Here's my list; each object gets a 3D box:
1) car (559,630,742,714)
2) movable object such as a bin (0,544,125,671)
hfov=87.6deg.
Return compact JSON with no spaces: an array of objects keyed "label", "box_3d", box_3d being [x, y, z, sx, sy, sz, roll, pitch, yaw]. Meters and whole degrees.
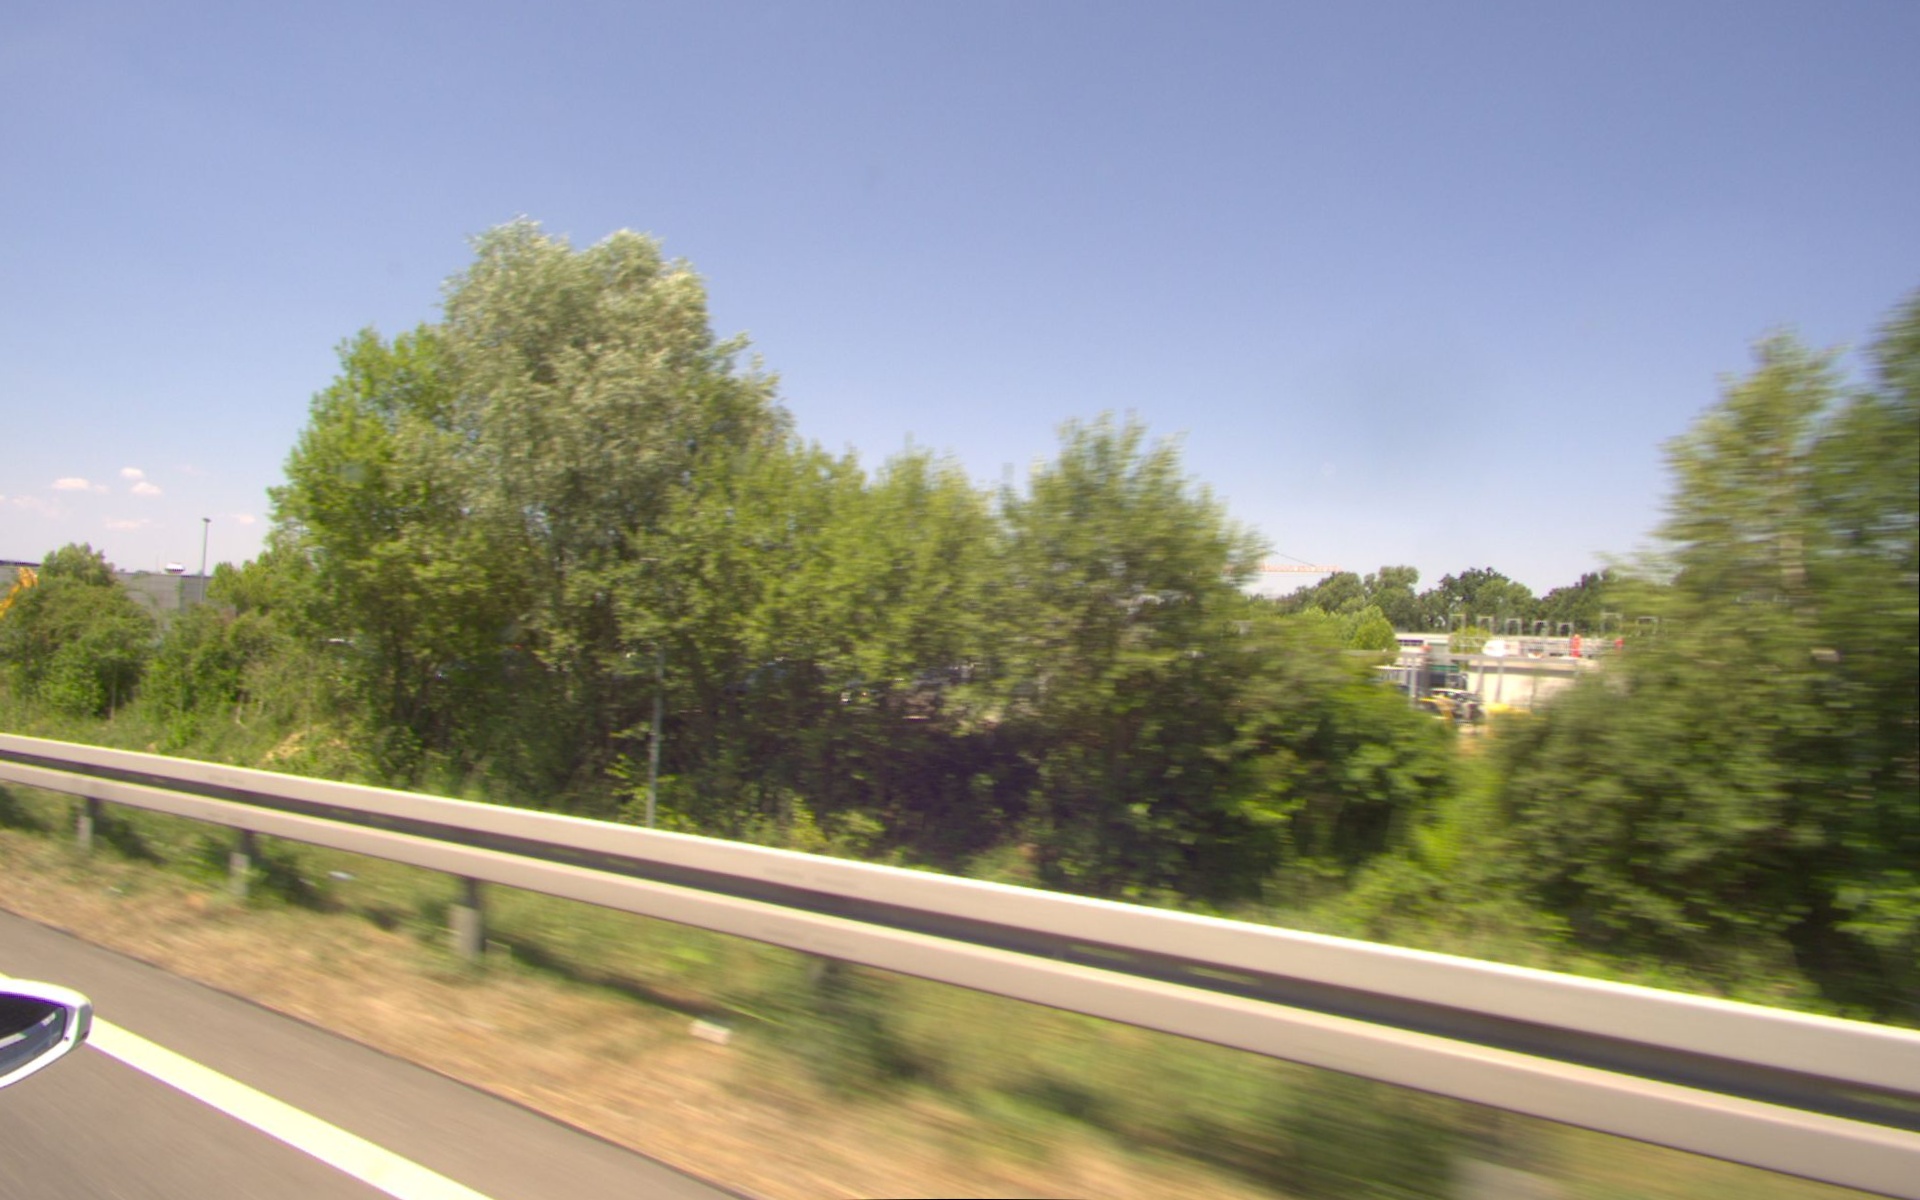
[{"label":"car","box_3d":[-8.416,1.967,27.701,1.969,1.993,4.676,3,-2,30]},{"label":"movable object such as a bin","box_3d":[-42.778,0.227,45.506,9.070,5.328,3.429,3,-1,23]}]
